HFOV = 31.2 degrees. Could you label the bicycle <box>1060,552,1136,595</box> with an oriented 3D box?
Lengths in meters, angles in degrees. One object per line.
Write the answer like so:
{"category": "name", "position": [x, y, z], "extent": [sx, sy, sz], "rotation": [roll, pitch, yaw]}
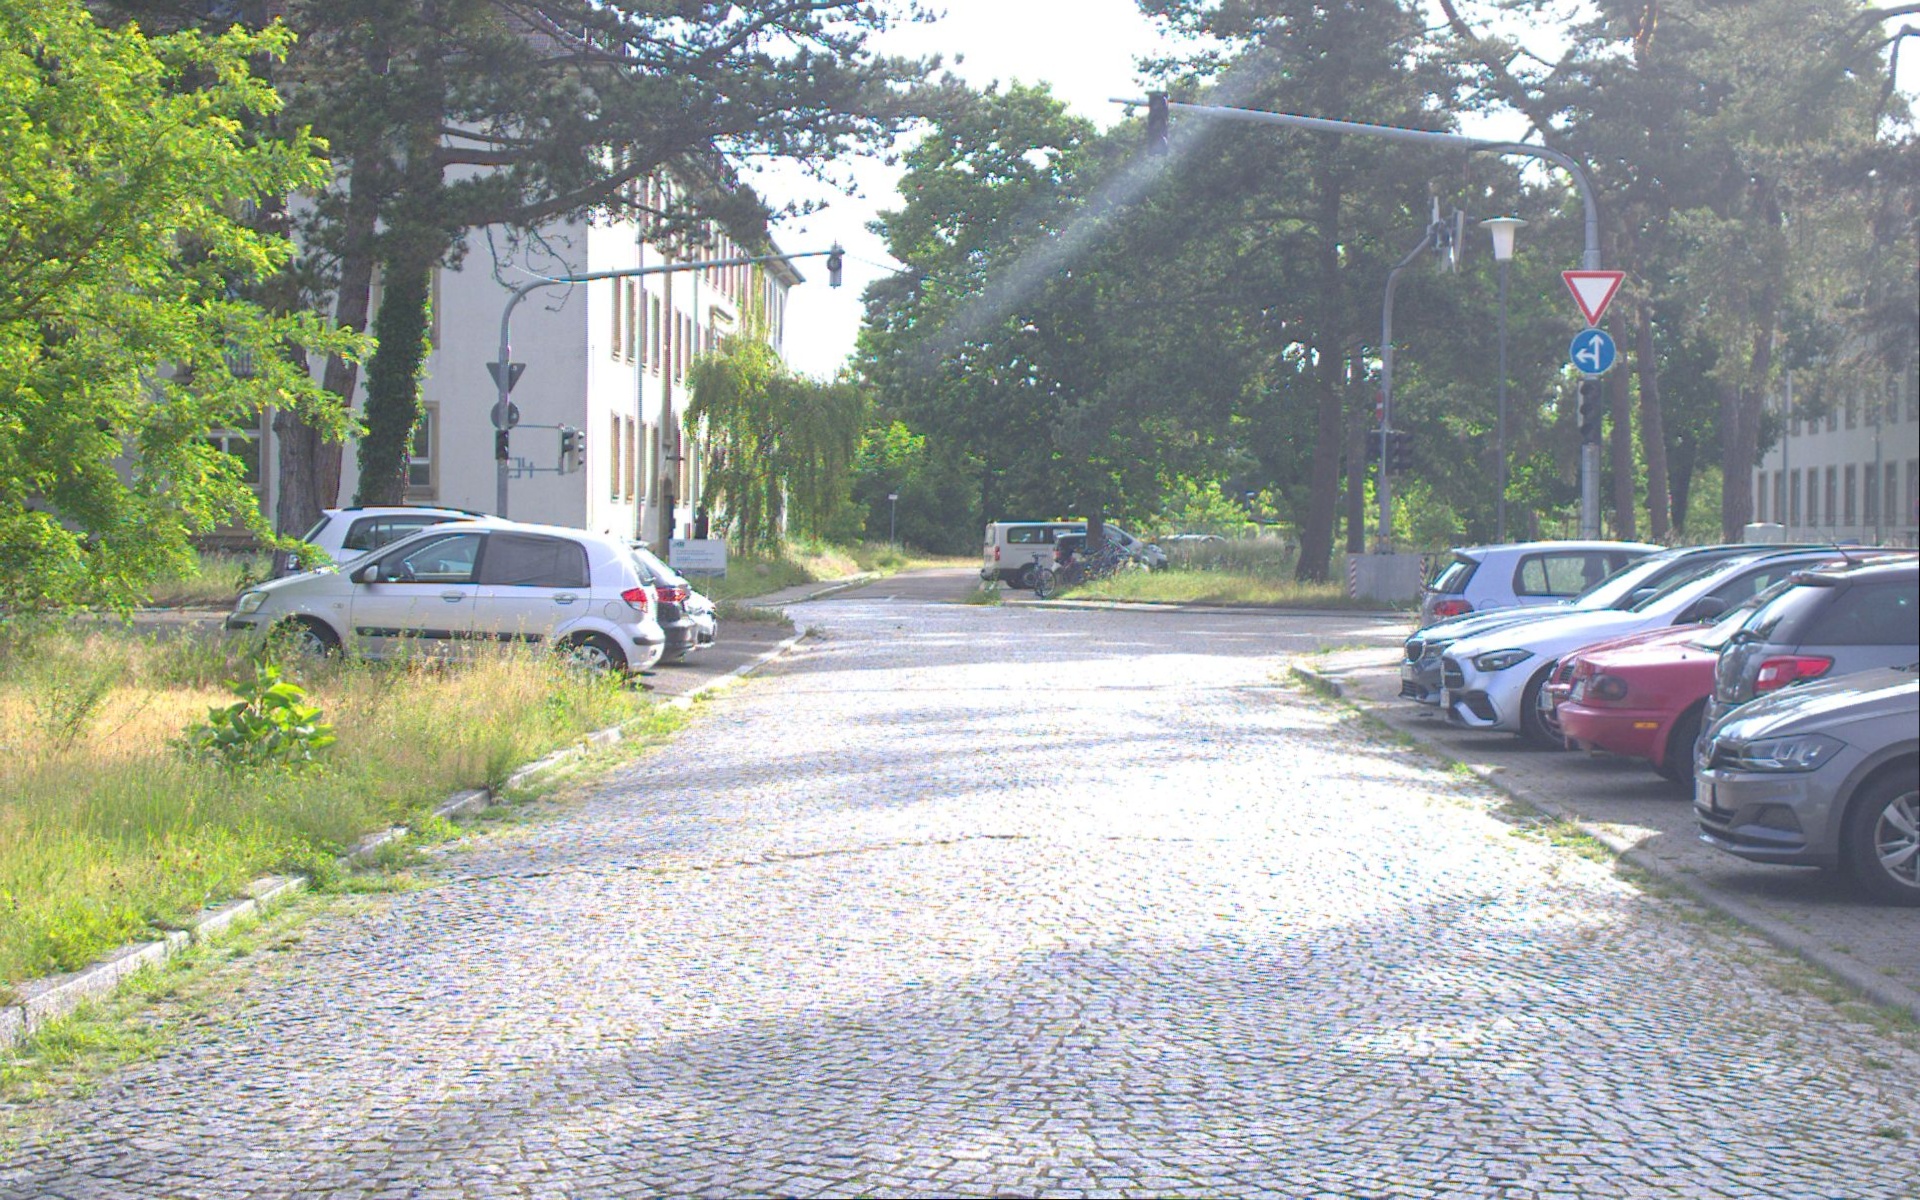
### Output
{"category": "bicycle", "position": [3.293, -0.632, 82.210], "extent": [1.793, 0.995, 0.644], "rotation": [0, 2, 0]}

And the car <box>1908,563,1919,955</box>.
{"category": "car", "position": [5.655, 0.629, 12.594], "extent": [3.874, 1.525, 1.808], "rotation": [0, 0, 1]}

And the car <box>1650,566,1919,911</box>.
{"category": "car", "position": [5.251, 0.583, 15.461], "extent": [3.951, 1.462, 1.830], "rotation": [0, 0, 1]}

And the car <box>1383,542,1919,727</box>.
{"category": "car", "position": [5.901, 0.268, 28.436], "extent": [4.506, 1.468, 1.895], "rotation": [0, 0, -3]}

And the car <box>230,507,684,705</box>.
{"category": "car", "position": [-4.385, 0.038, 30.397], "extent": [3.683, 1.468, 1.850], "rotation": [4, 0, -1]}

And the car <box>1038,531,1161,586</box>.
{"category": "car", "position": [3.825, -1.126, 94.566], "extent": [3.031, 1.460, 1.720], "rotation": [1, 0, -11]}

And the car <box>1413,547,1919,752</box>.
{"category": "car", "position": [5.751, 0.345, 25.661], "extent": [4.506, 1.468, 1.849], "rotation": [0, 0, 1]}

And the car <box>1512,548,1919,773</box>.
{"category": "car", "position": [6.057, 0.389, 23.383], "extent": [4.341, 1.468, 1.740], "rotation": [0, 0, 1]}

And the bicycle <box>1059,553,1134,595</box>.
{"category": "bicycle", "position": [3.305, -0.640, 83.231], "extent": [1.793, 0.995, 0.644], "rotation": [0, 2, 0]}

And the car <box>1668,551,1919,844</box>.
{"category": "car", "position": [5.934, 0.493, 18.369], "extent": [3.951, 1.490, 1.772], "rotation": [0, 0, 1]}

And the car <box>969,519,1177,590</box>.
{"category": "car", "position": [3.206, -1.299, 98.144], "extent": [5.499, 1.909, 2.255], "rotation": [1, 0, -13]}

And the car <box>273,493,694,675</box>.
{"category": "car", "position": [-4.895, -0.170, 35.757], "extent": [4.121, 1.594, 1.859], "rotation": [4, 0, -3]}

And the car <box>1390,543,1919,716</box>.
{"category": "car", "position": [6.289, 0.249, 31.053], "extent": [4.543, 1.500, 1.933], "rotation": [0, 0, -1]}

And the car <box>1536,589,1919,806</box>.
{"category": "car", "position": [5.630, 0.571, 21.017], "extent": [3.951, 1.256, 1.726], "rotation": [0, 0, 1]}

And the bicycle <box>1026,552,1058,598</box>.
{"category": "bicycle", "position": [1.872, -0.584, 78.650], "extent": [0.728, 0.995, 1.799], "rotation": [0, 2, 1]}

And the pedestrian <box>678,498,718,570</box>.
{"category": "pedestrian", "position": [-7.217, -1.804, 94.781], "extent": [0.985, 1.956, 0.933], "rotation": [1, 0, 0]}

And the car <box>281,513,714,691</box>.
{"category": "car", "position": [-4.386, 0.011, 33.054], "extent": [3.828, 1.424, 1.859], "rotation": [4, 1, 0]}

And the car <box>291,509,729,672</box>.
{"category": "car", "position": [-4.953, -0.128, 38.302], "extent": [4.587, 1.450, 1.904], "rotation": [4, 2, -1]}
